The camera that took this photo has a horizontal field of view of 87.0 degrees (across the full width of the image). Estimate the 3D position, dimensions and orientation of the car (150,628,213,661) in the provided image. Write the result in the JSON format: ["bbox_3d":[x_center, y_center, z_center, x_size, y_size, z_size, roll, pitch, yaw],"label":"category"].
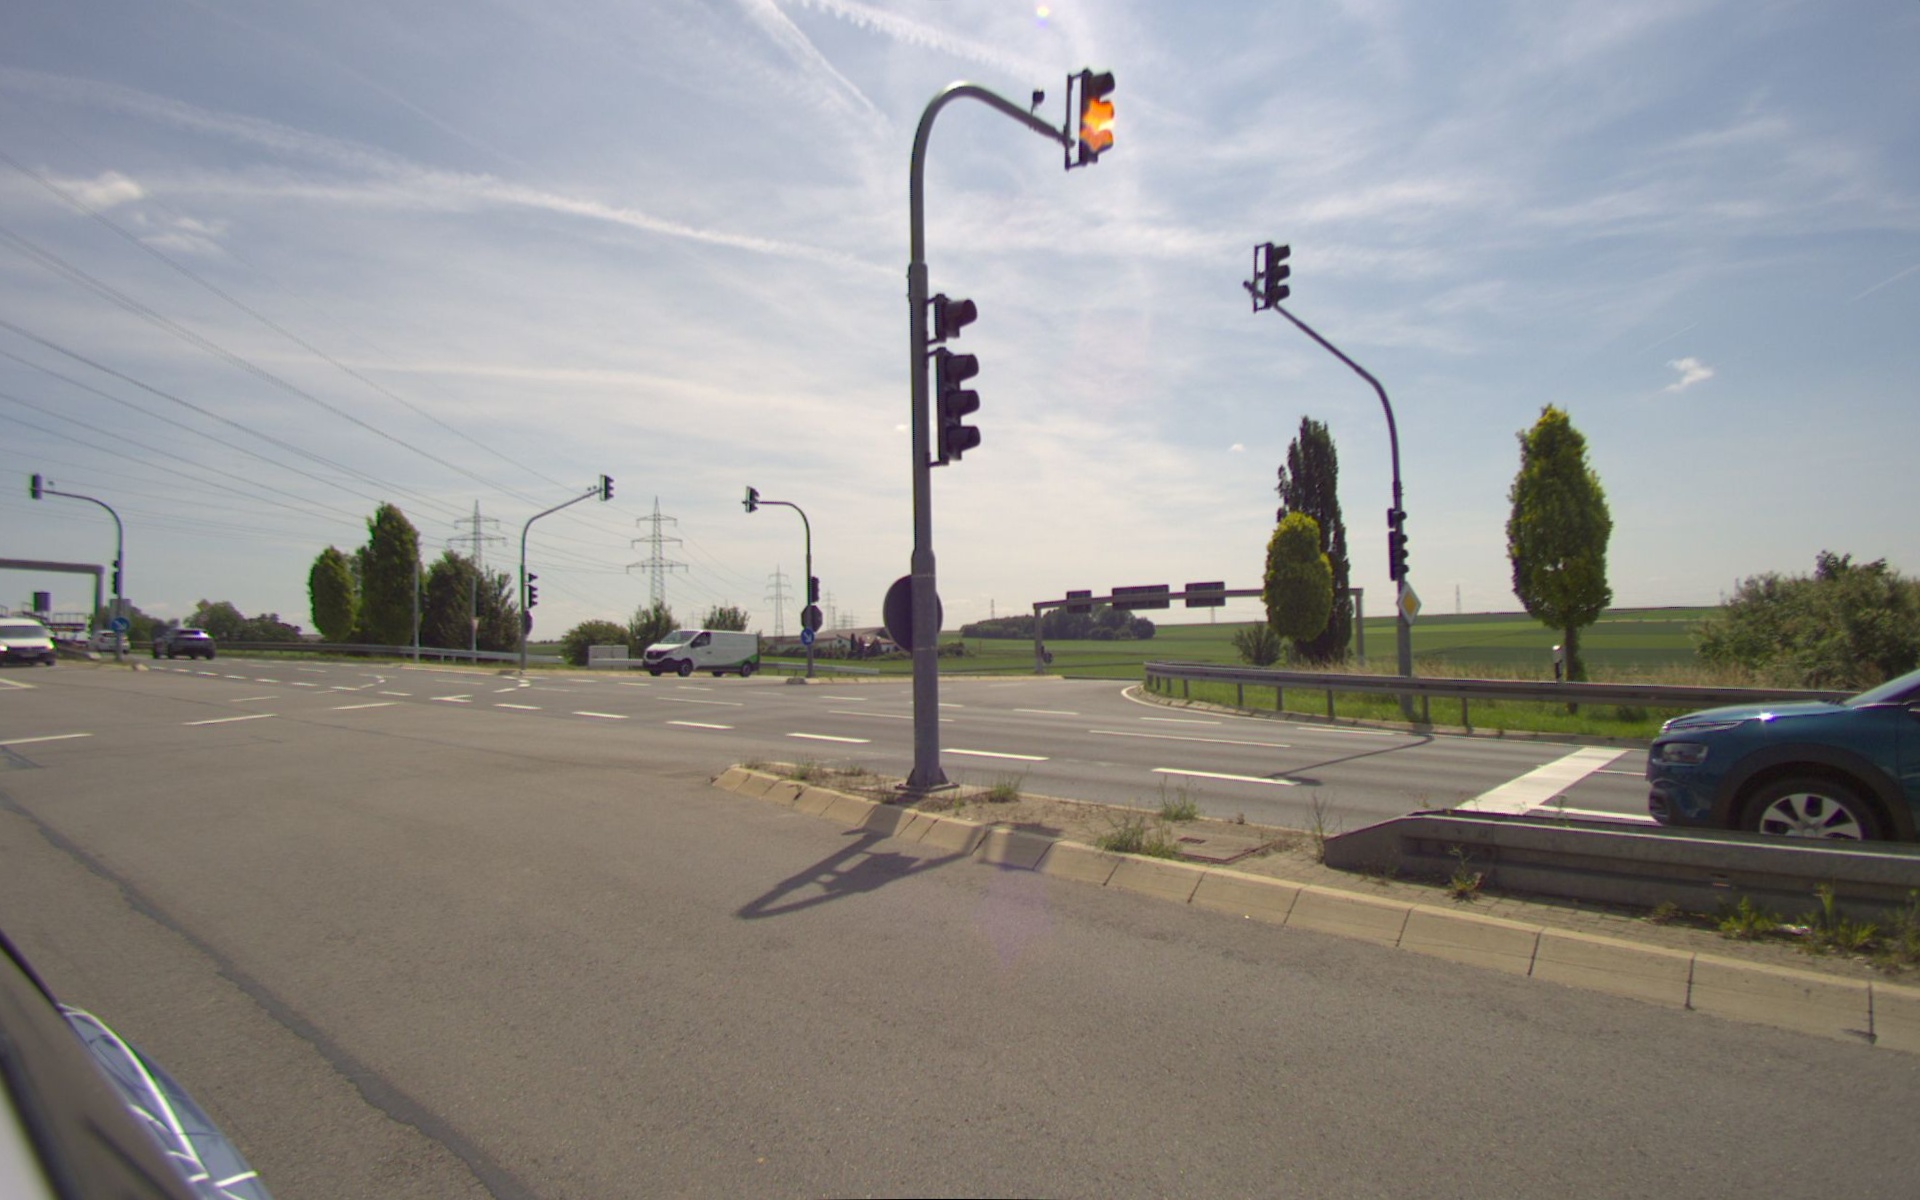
[{"bbox_3d":[-40.548,2.298,52.685,4.324,1.636,1.627,-1,-3,40],"label":"car"}]

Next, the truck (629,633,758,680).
[{"bbox_3d":[-10.860,2.323,41.634,1.993,1.770,5.226,-1,-3,31],"label":"truck"}]

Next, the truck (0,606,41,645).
[{"bbox_3d":[-77.202,2.073,82.265,5.983,3.036,2.772,-1,-2,39],"label":"truck"}]

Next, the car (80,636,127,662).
[{"bbox_3d":[-54.140,3.078,63.976,3.799,1.508,1.627,-1,-3,40],"label":"car"}]

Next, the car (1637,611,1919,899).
[{"bbox_3d":[6.180,0.798,5.314,4.192,1.480,1.737,-2,-3,40],"label":"car"}]

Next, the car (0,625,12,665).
[{"bbox_3d":[-42.434,1.955,43.511,4.343,1.670,1.838,-2,-1,39],"label":"car"}]

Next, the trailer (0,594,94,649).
[{"bbox_3d":[-69.540,1.584,76.185,19.769,3.792,2.614,-1,-2,38],"label":"trailer"}]

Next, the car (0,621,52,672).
[{"bbox_3d":[-36.329,1.748,38.689,4.748,1.812,1.750,-2,-1,40],"label":"car"}]
